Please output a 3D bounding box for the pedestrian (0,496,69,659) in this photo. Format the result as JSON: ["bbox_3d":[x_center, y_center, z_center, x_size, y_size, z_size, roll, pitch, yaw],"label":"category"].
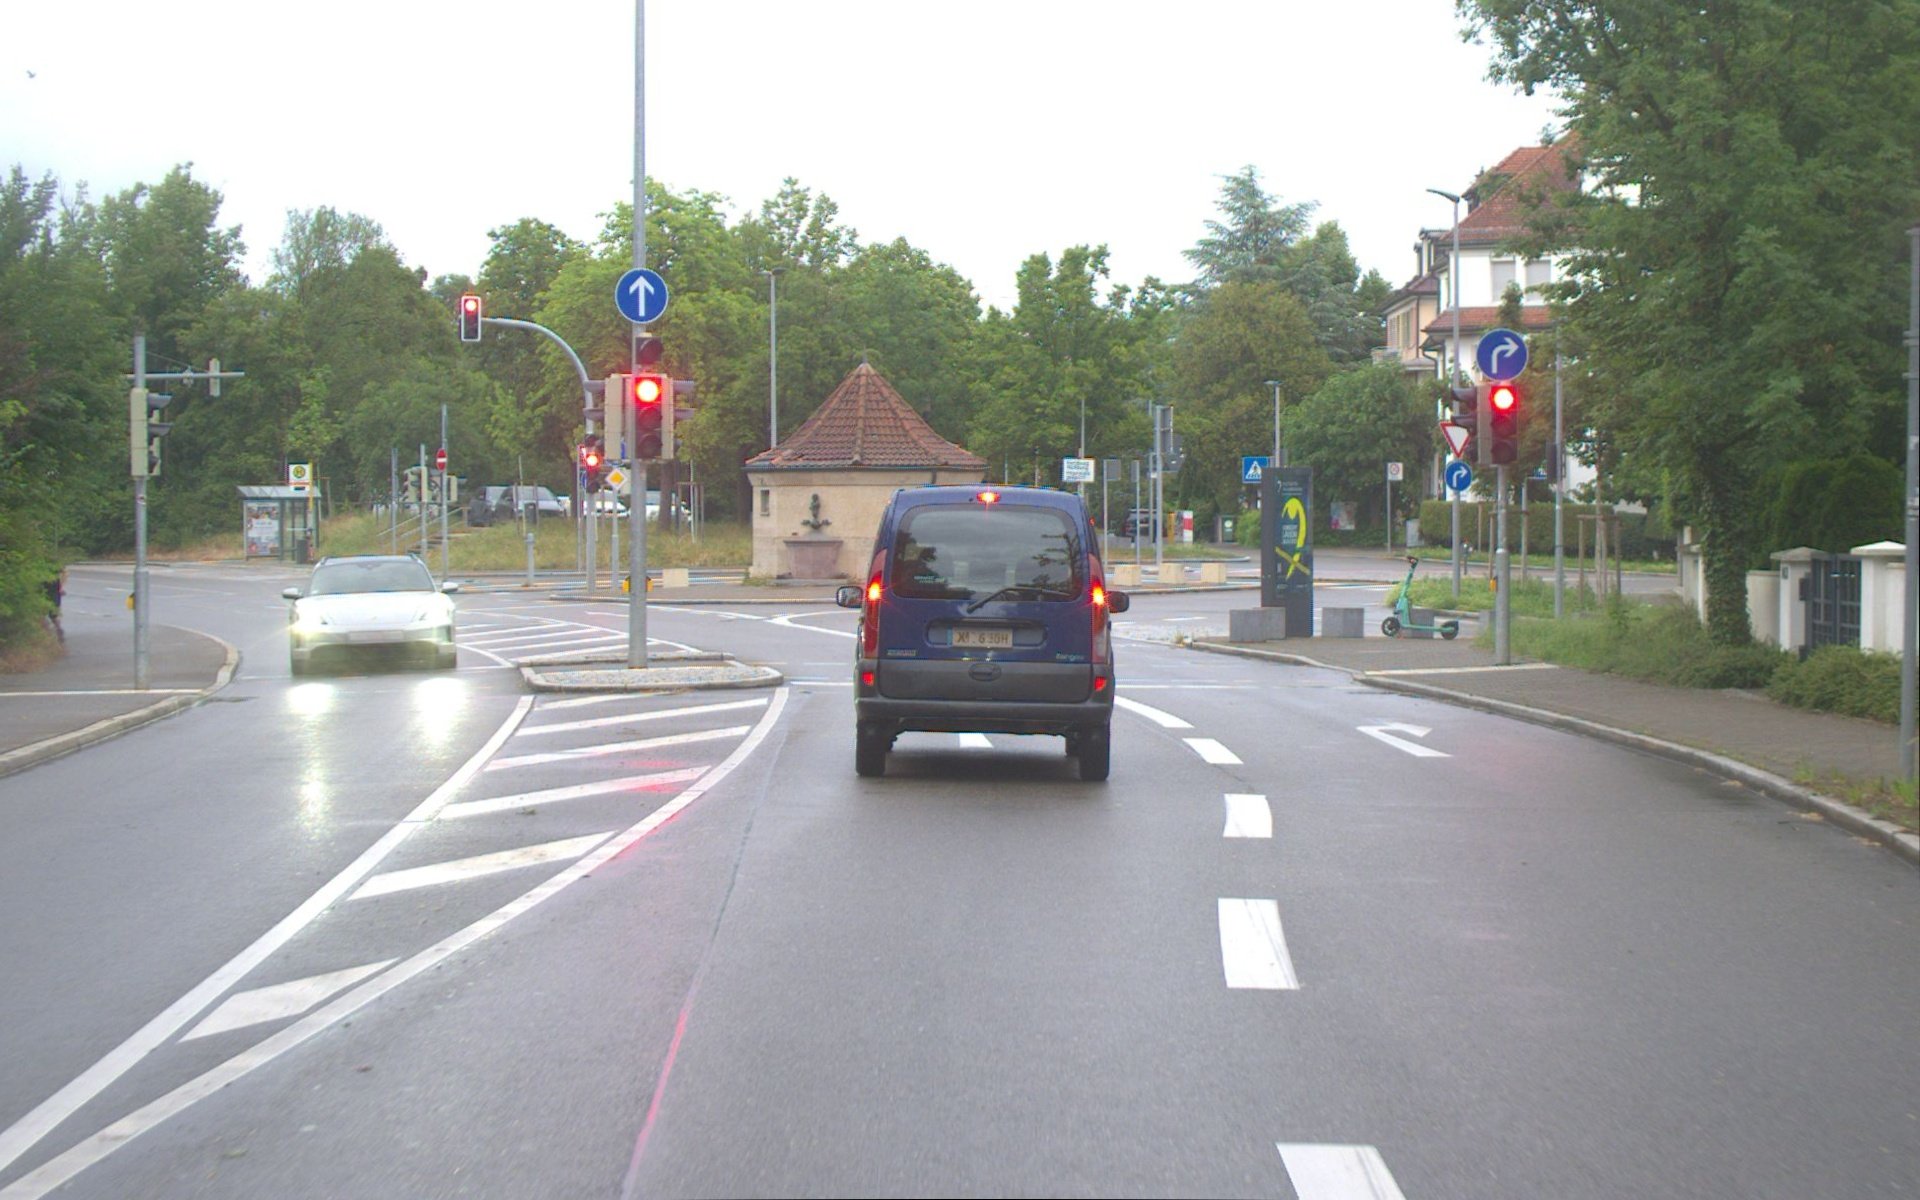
[{"bbox_3d":[-11.760,-0.285,42.886,1.088,2.007,1.000,1,0,-5],"label":"pedestrian"}]

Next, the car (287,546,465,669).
[{"bbox_3d":[-7.237,0.052,42.468,1.993,1.307,4.361,-3,2,-10],"label":"car"}]

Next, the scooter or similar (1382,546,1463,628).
[{"bbox_3d":[6.938,-0.195,51.605,1.149,1.214,0.406,0,0,-1],"label":"scooter or similar"}]

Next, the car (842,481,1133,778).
[{"bbox_3d":[0.100,0.136,22.876,1.731,1.780,4.001,1,1,-2],"label":"car"}]

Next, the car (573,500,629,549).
[{"bbox_3d":[-13.928,-2.919,133.457,1.993,1.806,4.001,1,0,-4],"label":"car"}]
